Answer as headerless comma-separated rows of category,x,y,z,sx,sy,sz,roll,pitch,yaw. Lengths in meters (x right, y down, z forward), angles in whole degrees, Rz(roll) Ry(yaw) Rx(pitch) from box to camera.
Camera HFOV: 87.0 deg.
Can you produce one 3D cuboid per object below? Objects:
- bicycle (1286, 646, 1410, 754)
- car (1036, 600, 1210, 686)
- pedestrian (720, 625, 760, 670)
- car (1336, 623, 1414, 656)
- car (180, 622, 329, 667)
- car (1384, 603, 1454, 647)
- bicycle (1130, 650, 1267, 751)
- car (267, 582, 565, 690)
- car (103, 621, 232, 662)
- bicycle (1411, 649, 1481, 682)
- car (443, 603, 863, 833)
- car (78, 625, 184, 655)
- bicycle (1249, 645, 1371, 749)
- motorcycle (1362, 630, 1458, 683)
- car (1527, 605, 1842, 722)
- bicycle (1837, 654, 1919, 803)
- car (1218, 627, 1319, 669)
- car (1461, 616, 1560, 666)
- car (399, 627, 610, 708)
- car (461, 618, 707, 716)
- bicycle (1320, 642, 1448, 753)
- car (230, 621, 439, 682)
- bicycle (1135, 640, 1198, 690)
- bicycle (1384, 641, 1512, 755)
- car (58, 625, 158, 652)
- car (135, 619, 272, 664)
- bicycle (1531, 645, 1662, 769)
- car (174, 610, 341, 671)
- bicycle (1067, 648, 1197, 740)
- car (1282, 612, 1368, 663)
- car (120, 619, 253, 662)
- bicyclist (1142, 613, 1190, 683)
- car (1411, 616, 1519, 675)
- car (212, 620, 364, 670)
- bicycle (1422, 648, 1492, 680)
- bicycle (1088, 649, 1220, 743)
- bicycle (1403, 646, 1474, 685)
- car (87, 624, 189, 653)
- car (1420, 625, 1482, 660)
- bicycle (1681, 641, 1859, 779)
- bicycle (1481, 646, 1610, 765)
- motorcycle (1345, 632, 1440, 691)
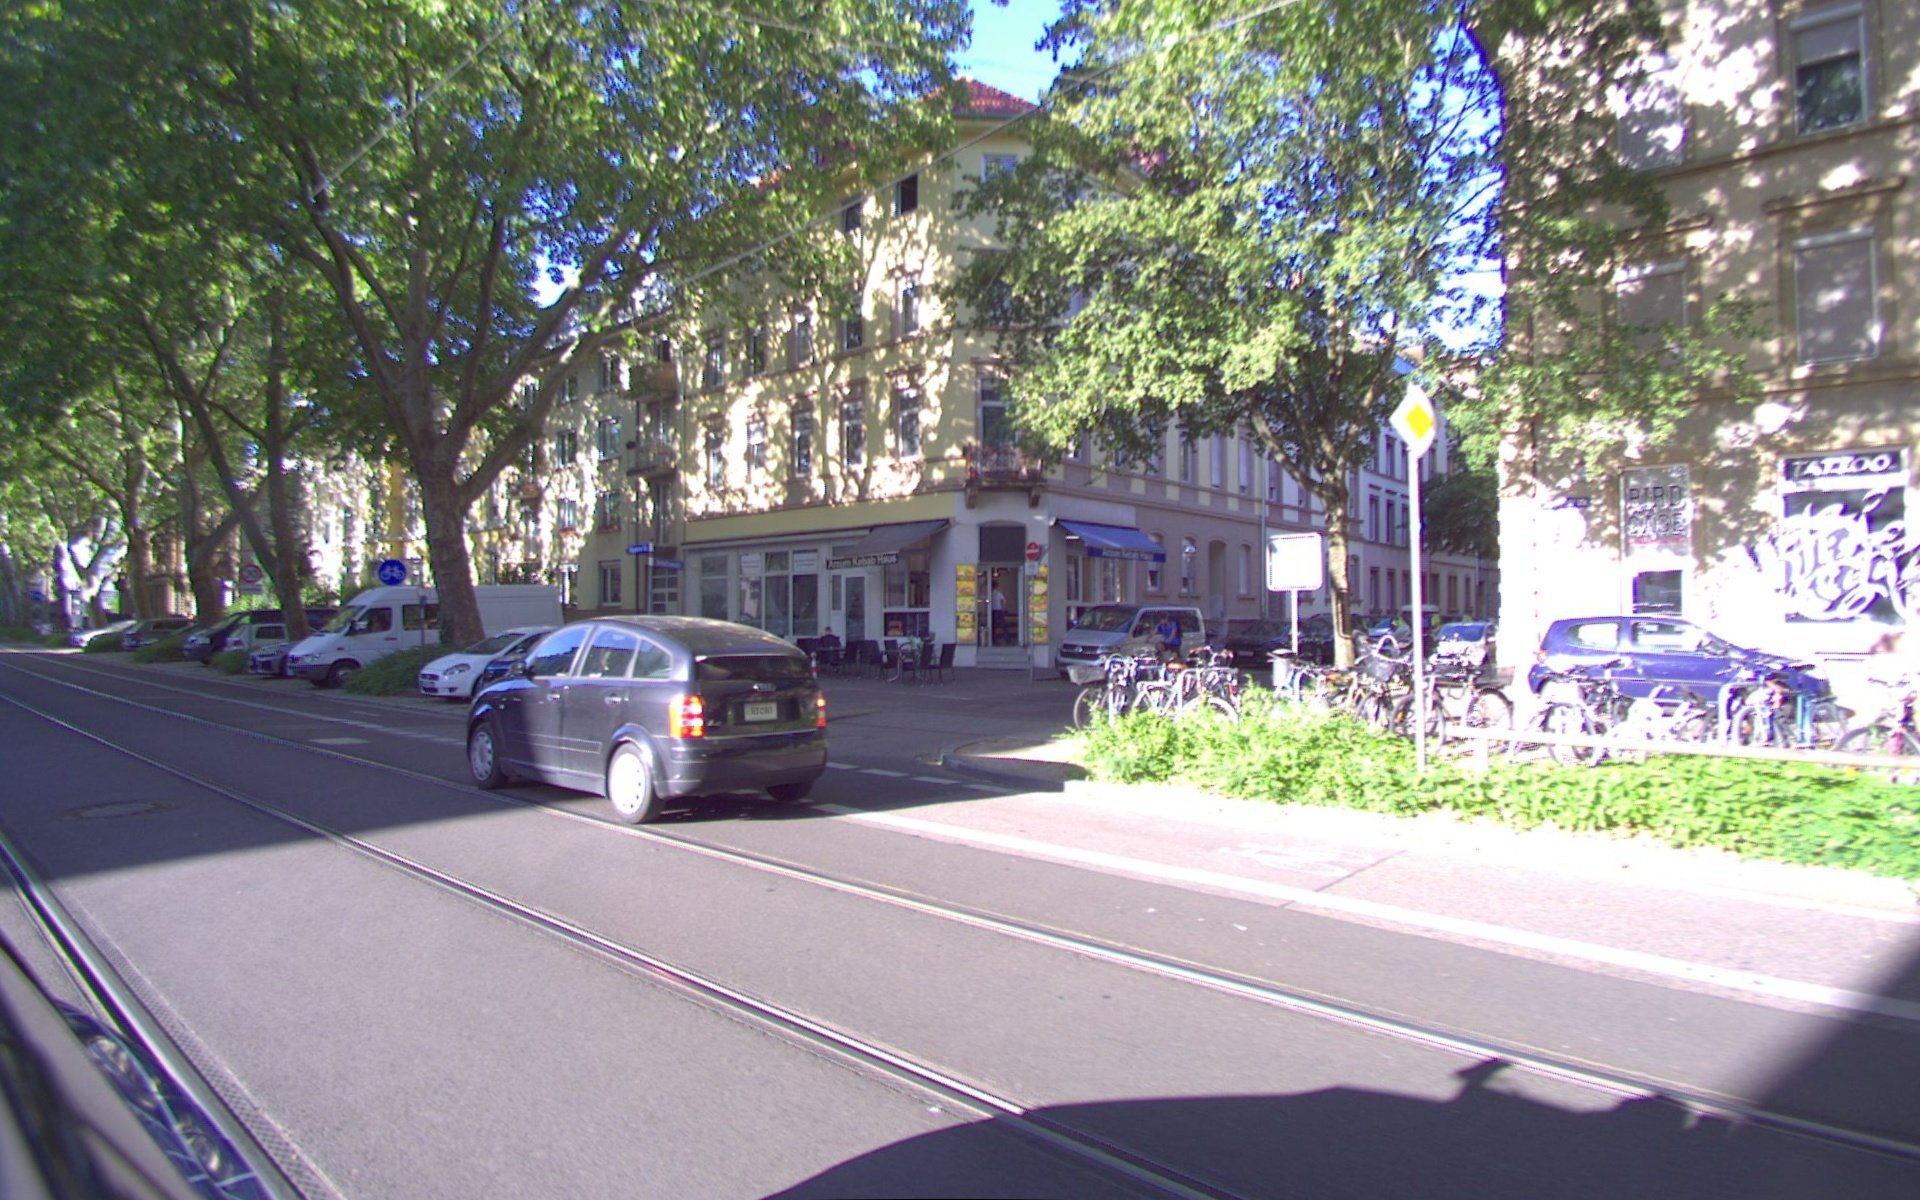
bicycle,4.303,1.074,11.180,1.536,1.096,0.397,0,-1,-31
car,4.146,0.989,25.272,2.129,1.894,4.522,2,1,43
pedestrian,-6.240,1.324,28.685,0.930,1.250,0.699,-2,-2,43
car,16.049,1.497,39.062,1.756,1.186,3.351,-1,-2,42
car,-26.549,1.631,38.189,1.657,1.418,4.309,-2,0,41
car,19.407,1.043,42.744,1.756,1.802,3.351,-1,-2,42
bicycle,2.881,1.175,12.138,1.830,1.096,0.397,0,-1,-31
car,-13.968,0.817,26.473,1.999,2.426,6.533,-2,0,41
car,-35.766,1.838,45.750,1.999,1.625,4.309,-2,0,42
bicycle,11.592,1.553,24.158,1.453,0.738,0.393,-1,-2,43
car,-2.700,0.854,8.542,3.688,1.521,1.618,-1,-4,40
car,-41.981,1.991,51.335,1.526,1.441,3.949,-1,-1,38
bicycle,4.007,1.077,11.543,1.536,1.096,0.397,0,-1,-31
motorcycle,9.556,1.186,21.529,1.830,1.080,0.526,-1,-1,29
car,10.236,0.838,14.488,3.485,1.471,1.583,-1,-2,39
bicycle,7.750,0.958,7.887,1.775,1.051,0.599,0,-1,-21
car,9.643,1.461,31.523,1.756,1.186,3.351,-1,-2,42
car,16.657,1.193,30.531,1.756,1.421,3.859,-1,-2,42
car,-9.552,1.349,21.465,1.744,1.529,3.737,-1,-1,34
car,-7.296,1.218,20.011,1.814,1.725,4.278,-1,-2,38
bicycle,4.538,1.008,10.798,1.536,1.096,0.397,0,-1,-31
car,-18.296,1.443,29.797,1.999,1.456,4.879,-2,0,42
bicycle,4.669,1.444,22.810,0.628,1.039,1.852,-2,-2,38
bicycle,5.111,0.996,10.574,1.536,1.096,0.397,0,-1,-31
car,-46.119,2.070,54.855,1.410,1.385,3.949,-1,-1,38
car,-31.769,1.714,42.592,1.999,1.625,4.309,-2,0,42
bicycle,6.142,0.995,9.744,1.536,1.096,0.397,0,-1,-31
car,-25.177,1.395,36.424,1.920,1.922,4.580,-2,0,40
bicycle,2.261,1.193,13.189,1.830,1.096,0.397,0,-1,-31
car,12.703,1.269,35.138,1.756,1.706,3.130,-1,-2,42
car,-33.864,1.747,44.378,1.999,1.625,4.309,-2,0,42
bicyclist,4.666,1.067,22.874,0.736,1.538,0.858,-2,-2,39
car,13.585,1.164,27.167,1.756,1.475,3.351,-1,-2,42
car,-23.102,1.525,34.910,1.868,1.456,4.015,-2,0,42
bicycle,12.037,1.540,24.538,1.453,0.738,0.393,-1,-2,43
bicycle,2.480,1.188,12.832,1.830,1.096,0.397,0,-1,-31
bicycle,11.194,1.518,23.704,1.453,0.866,0.393,-1,-2,43
car,-43.355,1.990,53.435,1.599,1.441,3.949,-1,-1,38
car,22.472,1.895,46.248,1.616,1.505,3.558,-1,-2,42
bicycle,7.289,0.938,9.082,1.892,1.096,0.599,0,-1,-31
bicycle,5.903,1.027,10.179,1.536,1.096,0.397,0,-1,-31
motorcycle,9.731,1.362,22.814,0.581,1.271,1.877,1,-2,-43
